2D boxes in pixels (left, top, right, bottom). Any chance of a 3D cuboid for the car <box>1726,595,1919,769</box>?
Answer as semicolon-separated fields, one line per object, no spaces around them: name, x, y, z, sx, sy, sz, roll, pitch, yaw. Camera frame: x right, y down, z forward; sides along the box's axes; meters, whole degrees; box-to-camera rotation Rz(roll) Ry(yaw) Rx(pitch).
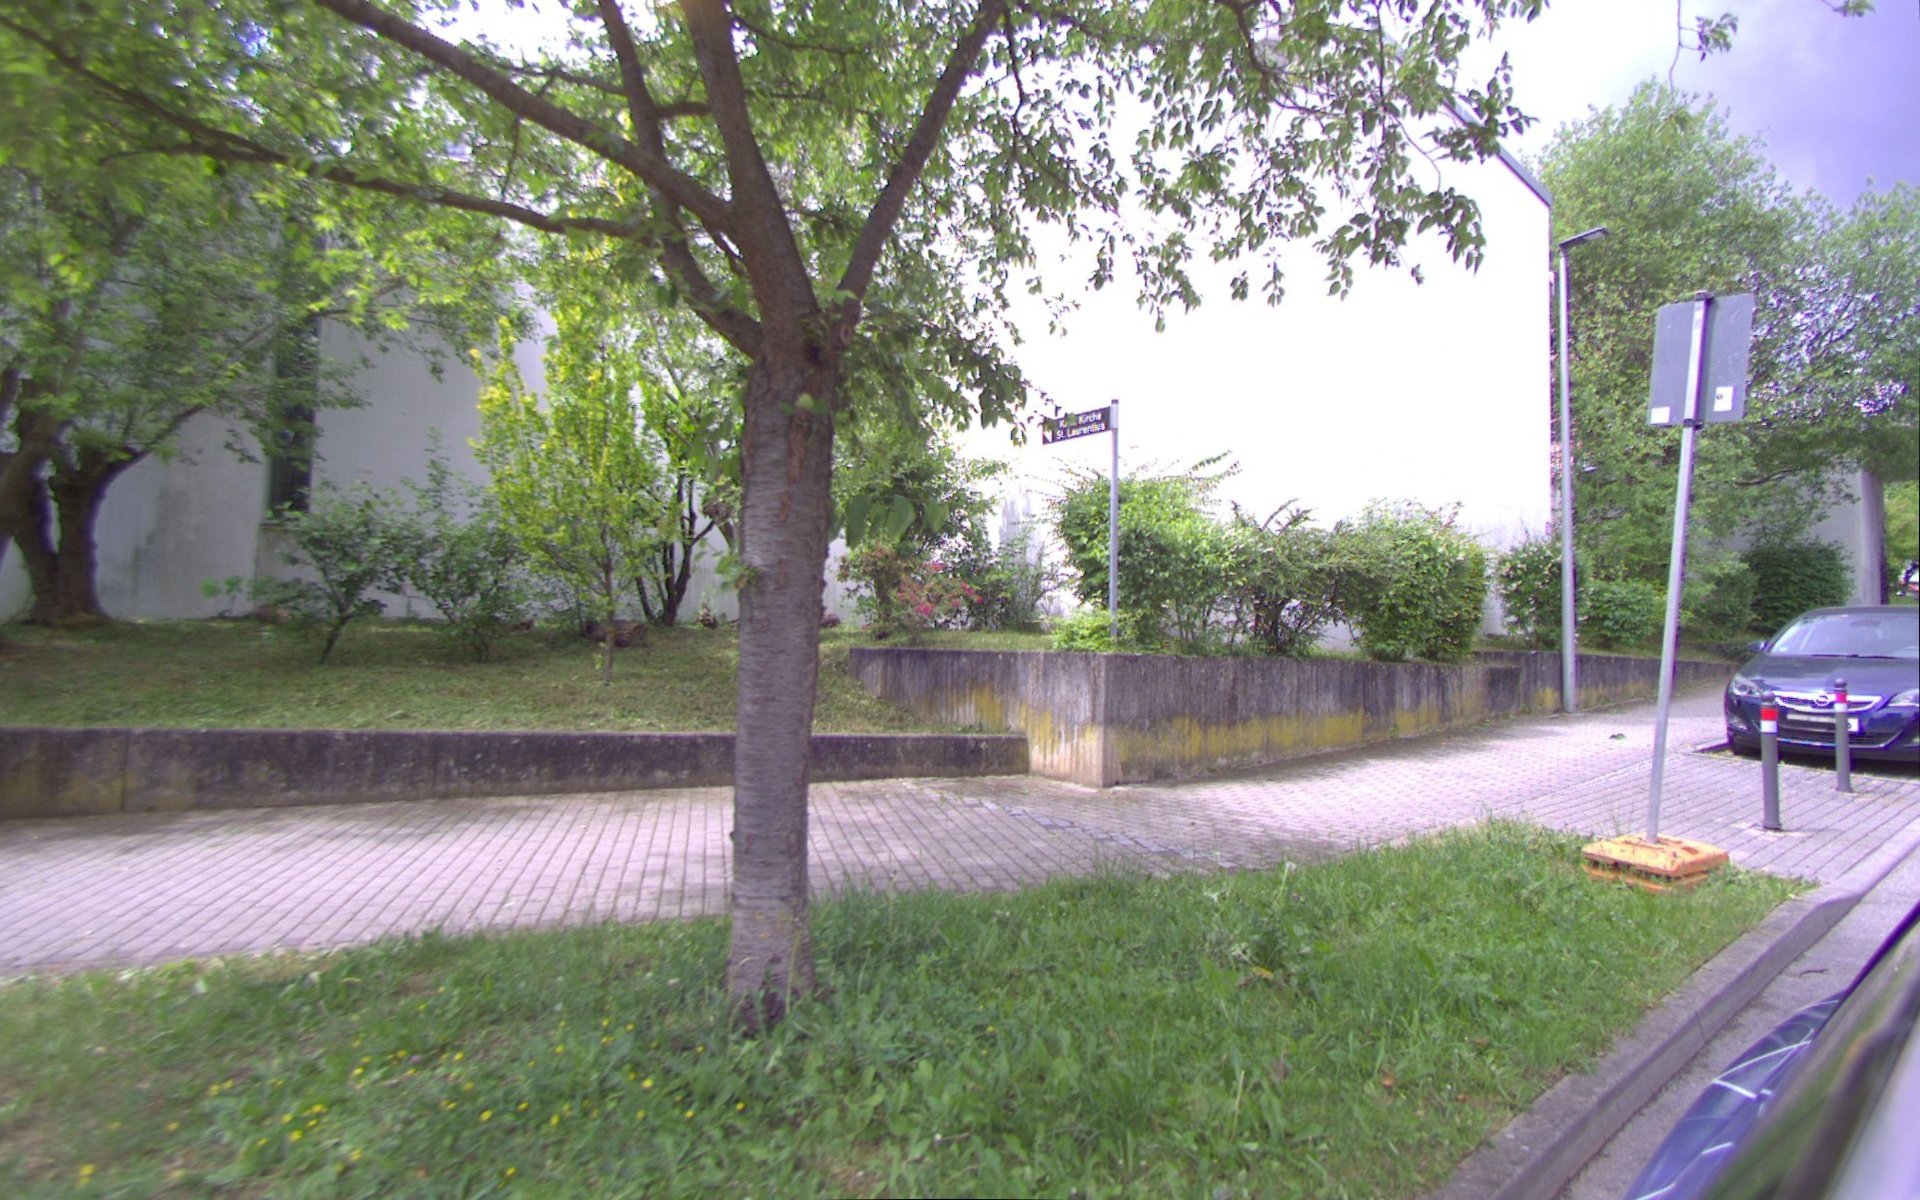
car;9.216;0.682;9.969;3.926;1.438;1.695;0;0;-37
